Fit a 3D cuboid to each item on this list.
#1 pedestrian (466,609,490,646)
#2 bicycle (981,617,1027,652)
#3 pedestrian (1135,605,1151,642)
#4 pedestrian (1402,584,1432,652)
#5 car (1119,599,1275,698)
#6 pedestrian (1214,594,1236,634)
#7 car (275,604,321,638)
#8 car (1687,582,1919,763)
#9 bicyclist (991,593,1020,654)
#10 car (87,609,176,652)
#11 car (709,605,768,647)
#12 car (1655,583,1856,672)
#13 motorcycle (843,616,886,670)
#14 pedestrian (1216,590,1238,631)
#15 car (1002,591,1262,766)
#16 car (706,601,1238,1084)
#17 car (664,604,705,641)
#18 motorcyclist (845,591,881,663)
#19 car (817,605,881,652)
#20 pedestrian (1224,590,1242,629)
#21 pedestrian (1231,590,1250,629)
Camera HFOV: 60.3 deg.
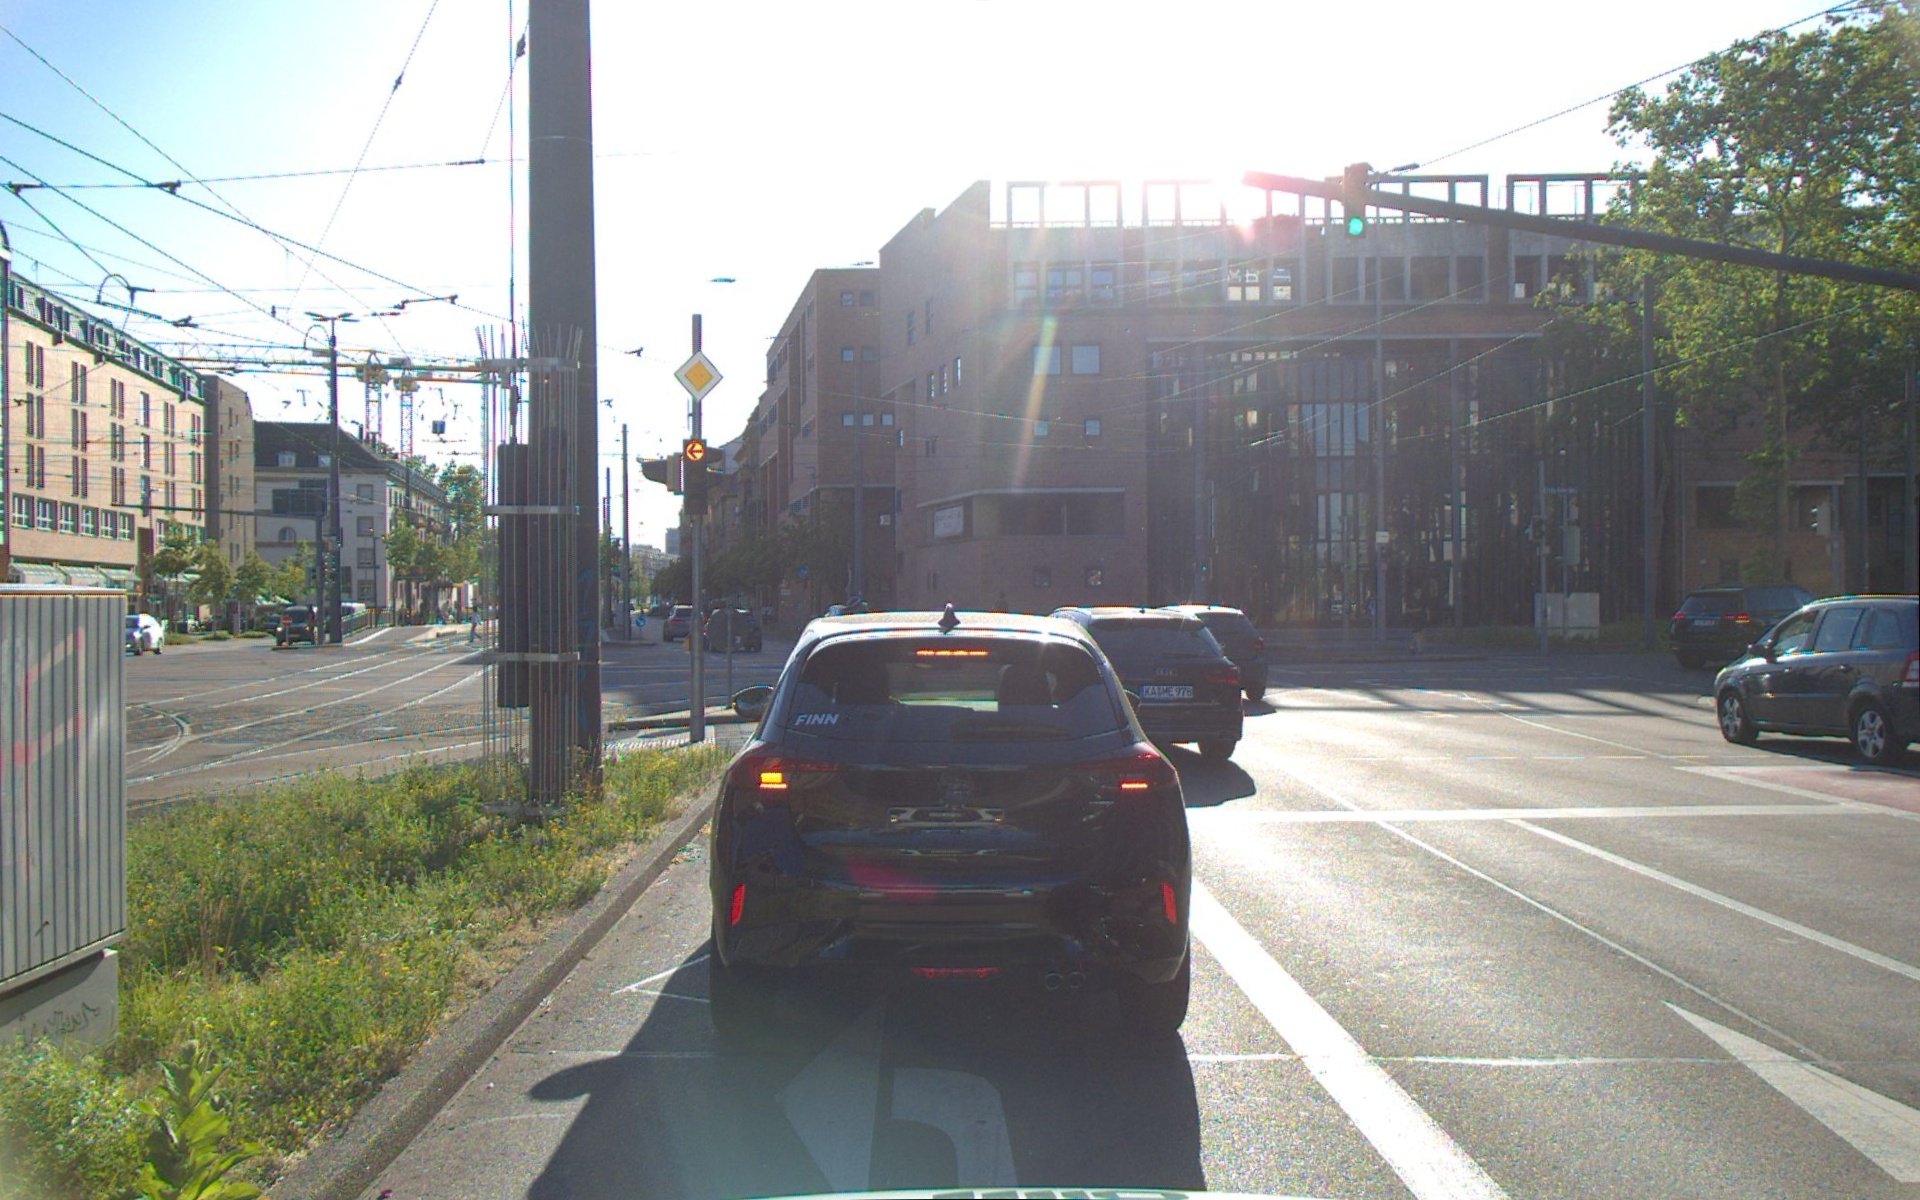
[{"bbox_3d":[-21.708,1.237,74.483,0.762,1.669,0.732,0,0,-44],"label":"pedestrian"},{"bbox_3d":[1.318,1.038,50.066,0.485,1.015,2.312,-1,0,-22],"label":"bicycle"},{"bbox_3d":[7.166,0.920,64.764,0.519,1.455,0.598,-1,0,-1],"label":"pedestrian"},{"bbox_3d":[12.160,0.481,44.010,0.692,1.789,0.560,-1,0,25],"label":"pedestrian"},{"bbox_3d":[3.809,0.738,27.224,1.771,1.483,3.997,1,0,-4],"label":"car"},{"bbox_3d":[10.855,0.565,67.791,0.881,1.645,0.561,-1,0,8],"label":"pedestrian"},{"bbox_3d":[-31.199,0.973,78.013,1.717,1.531,3.861,-1,0,-18],"label":"car"},{"bbox_3d":[9.527,0.660,17.451,1.654,1.657,4.461,0,0,-2],"label":"car"},{"bbox_3d":[1.363,0.709,49.878,0.569,1.822,0.858,-1,0,-21],"label":"bicyclist"},{"bbox_3d":[-30.207,1.090,60.434,1.542,1.474,3.996,-1,0,-5],"label":"car"},{"bbox_3d":[-7.624,0.855,56.683,1.707,1.373,3.988,0,0,-12],"label":"car"},{"bbox_3d":[17.001,0.548,35.304,4.275,1.780,1.977,-1,0,-33],"label":"car"},{"bbox_3d":[-2.135,0.934,36.784,0.761,1.135,1.965,-1,0,-9],"label":"motorcycle"},{"bbox_3d":[11.028,0.432,68.386,0.881,1.645,0.561,-1,0,8],"label":"pedestrian"},{"bbox_3d":[1.613,0.708,17.121,1.776,1.518,4.490,-2,0,-6],"label":"car"},{"bbox_3d":[0.052,0.741,7.048,1.615,1.458,4.000,0,0,0],"label":"car"},{"bbox_3d":[-12.731,1.010,76.241,1.706,1.680,3.988,0,0,-12],"label":"car"},{"bbox_3d":[-2.156,0.583,36.692,0.730,1.557,1.019,-1,0,-6],"label":"motorcyclist"},{"bbox_3d":[-3.731,0.924,55.061,1.774,1.483,3.992,1,0,-9],"label":"car"},{"bbox_3d":[11.570,0.396,70.066,0.722,1.645,0.561,-1,0,8],"label":"pedestrian"},{"bbox_3d":[11.720,0.394,69.147,0.722,1.645,0.561,-1,0,8],"label":"pedestrian"}]
